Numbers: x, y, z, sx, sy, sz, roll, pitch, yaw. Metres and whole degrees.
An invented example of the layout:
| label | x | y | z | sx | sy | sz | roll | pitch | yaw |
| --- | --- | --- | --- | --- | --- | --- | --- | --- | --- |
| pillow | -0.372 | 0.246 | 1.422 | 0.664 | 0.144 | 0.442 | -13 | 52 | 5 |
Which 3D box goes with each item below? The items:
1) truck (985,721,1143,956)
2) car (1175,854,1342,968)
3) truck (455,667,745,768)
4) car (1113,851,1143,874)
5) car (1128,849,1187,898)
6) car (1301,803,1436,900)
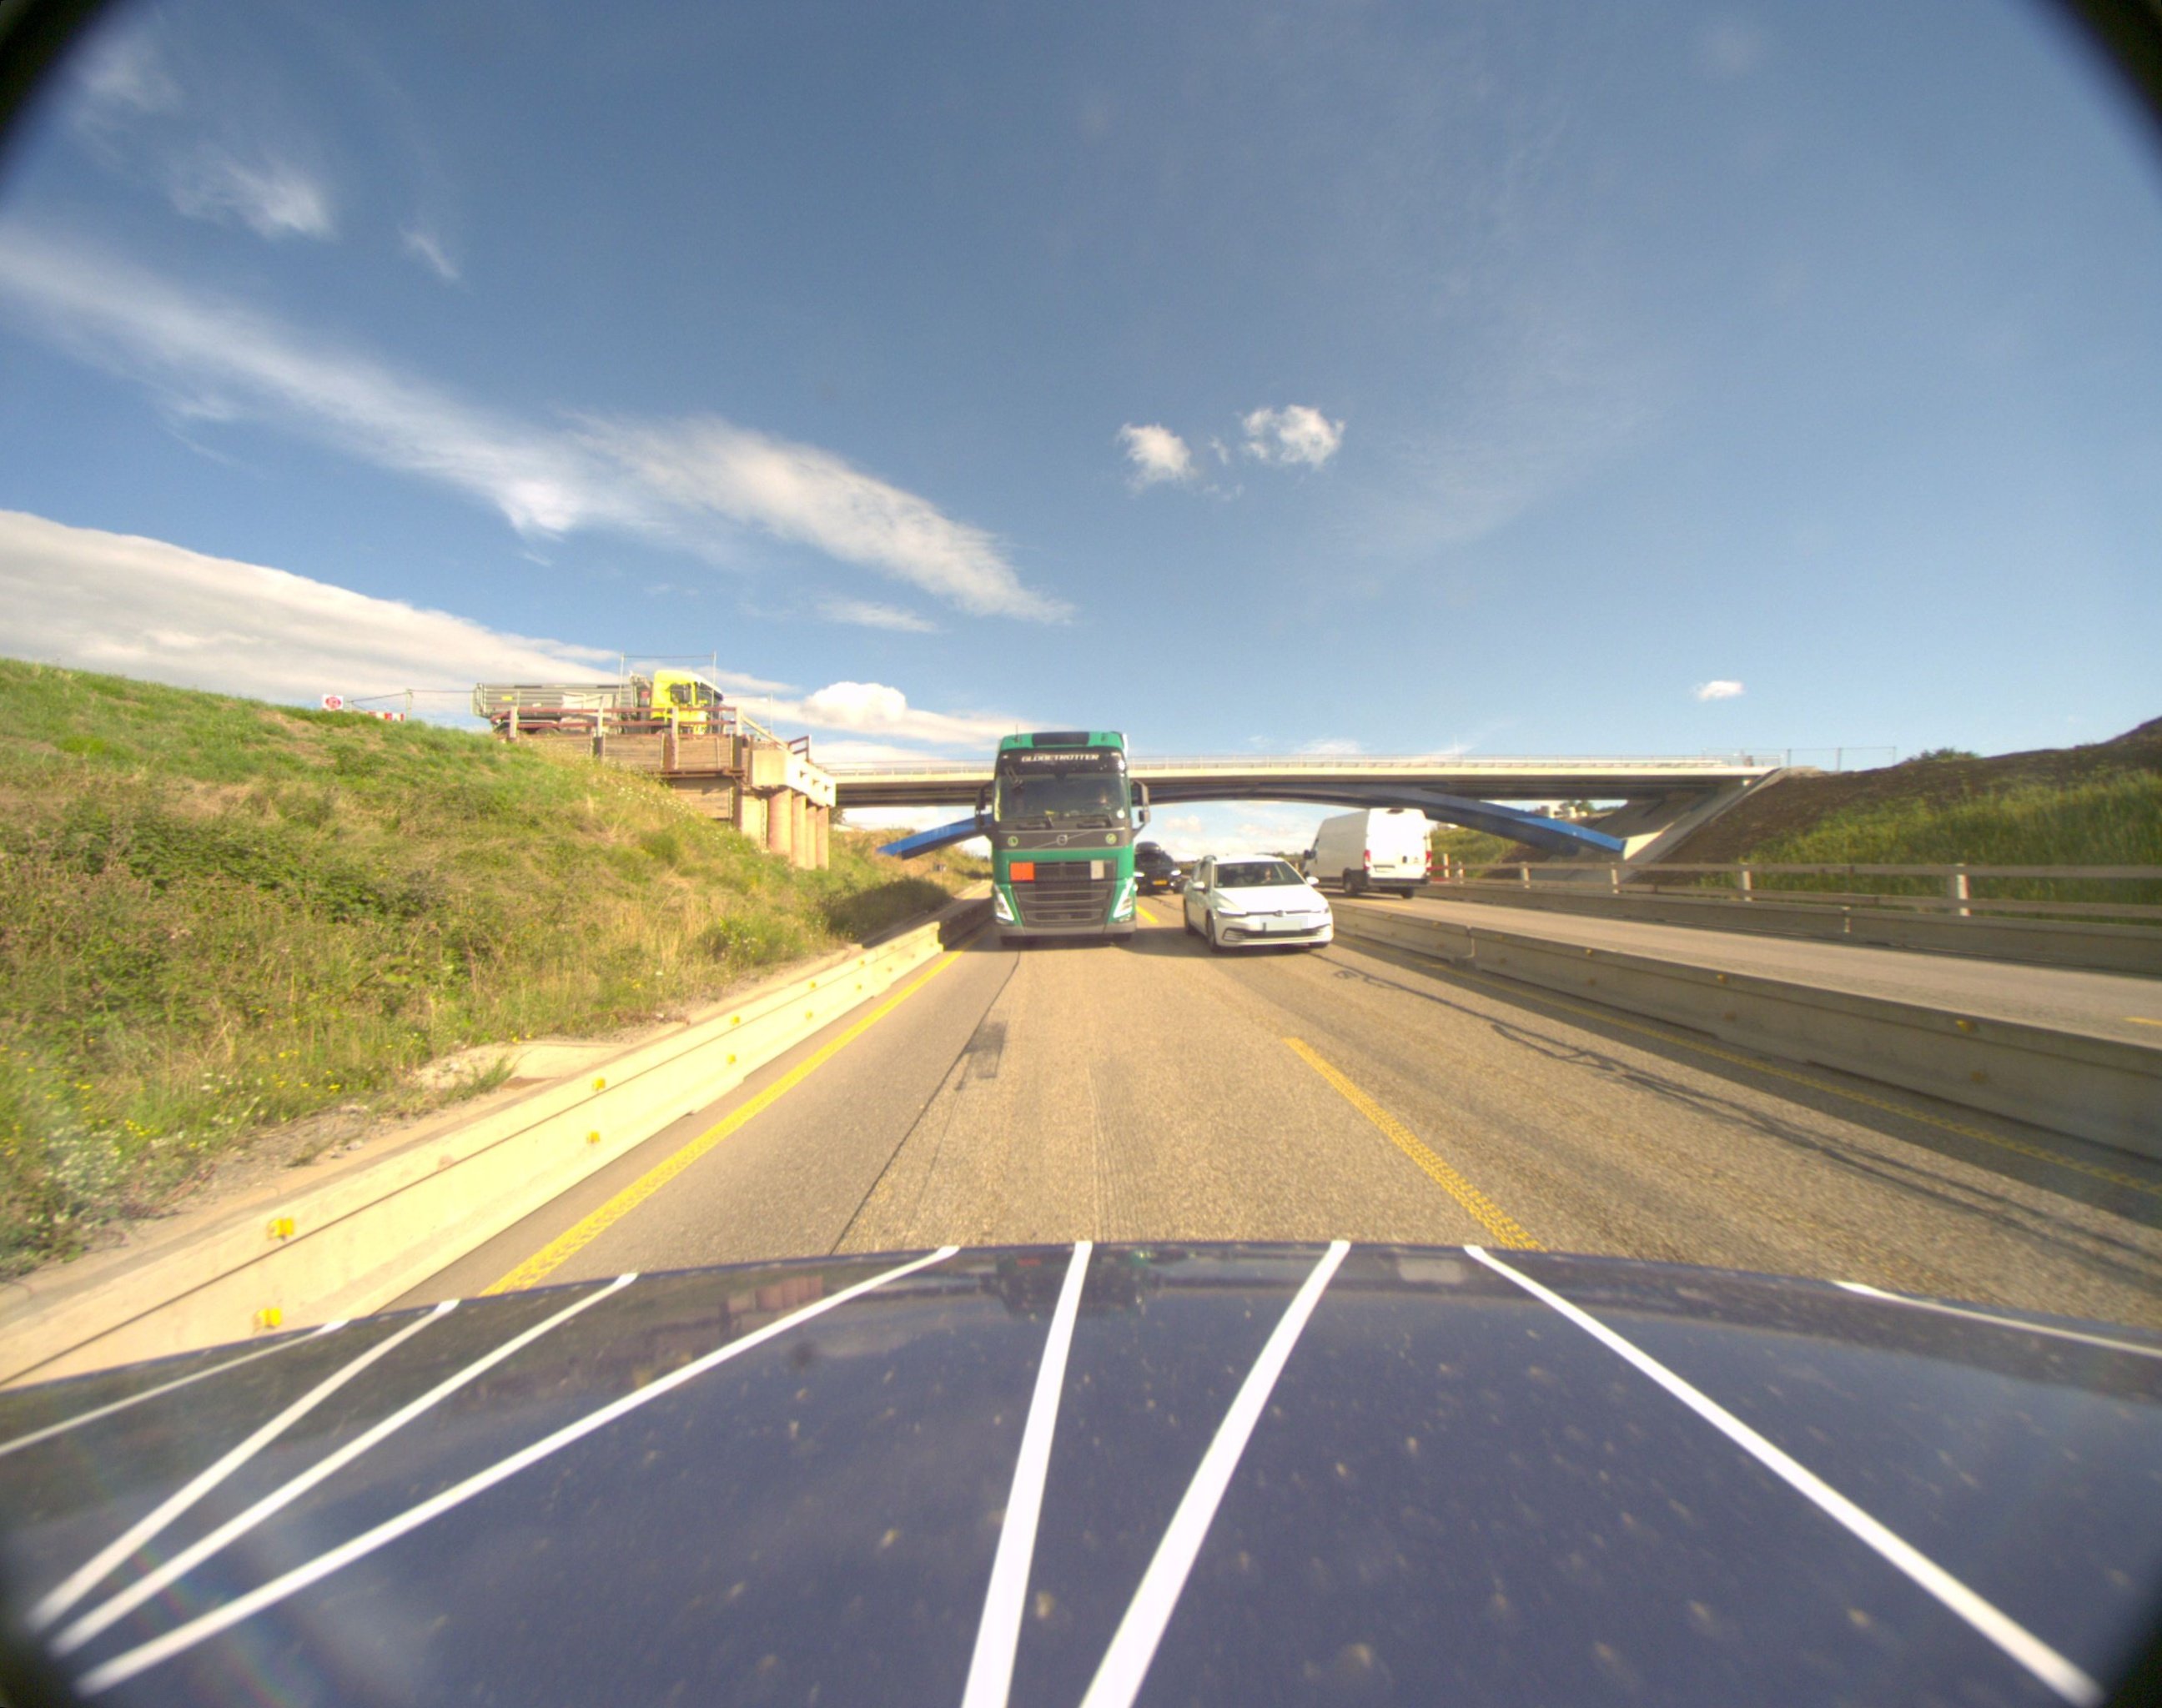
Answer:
| label | x | y | z | sx | sy | sz | roll | pitch | yaw |
| --- | --- | --- | --- | --- | --- | --- | --- | --- | --- |
| truck | -0.328 | -0.266 | 16.966 | 2.546 | 3.899 | 8.278 | -2 | 0 | -1 |
| car | 2.756 | 0.802 | 12.832 | 1.825 | 1.487 | 4.374 | -3 | 0 | 1 |
| truck | -18.652 | -5.298 | 29.966 | 9.289 | 3.209 | 2.959 | -2 | 0 | -3 |
| car | 3.258 | 0.535 | 53.349 | 1.855 | 1.488 | 4.300 | -2 | 0 | 0 |
| car | 2.888 | 0.700 | 29.615 | 1.855 | 1.667 | 4.260 | -4 | 0 | 1 |
| car | 9.322 | -0.078 | 25.368 | 2.115 | 2.819 | 6.138 | 1 | 0 | 0 |
